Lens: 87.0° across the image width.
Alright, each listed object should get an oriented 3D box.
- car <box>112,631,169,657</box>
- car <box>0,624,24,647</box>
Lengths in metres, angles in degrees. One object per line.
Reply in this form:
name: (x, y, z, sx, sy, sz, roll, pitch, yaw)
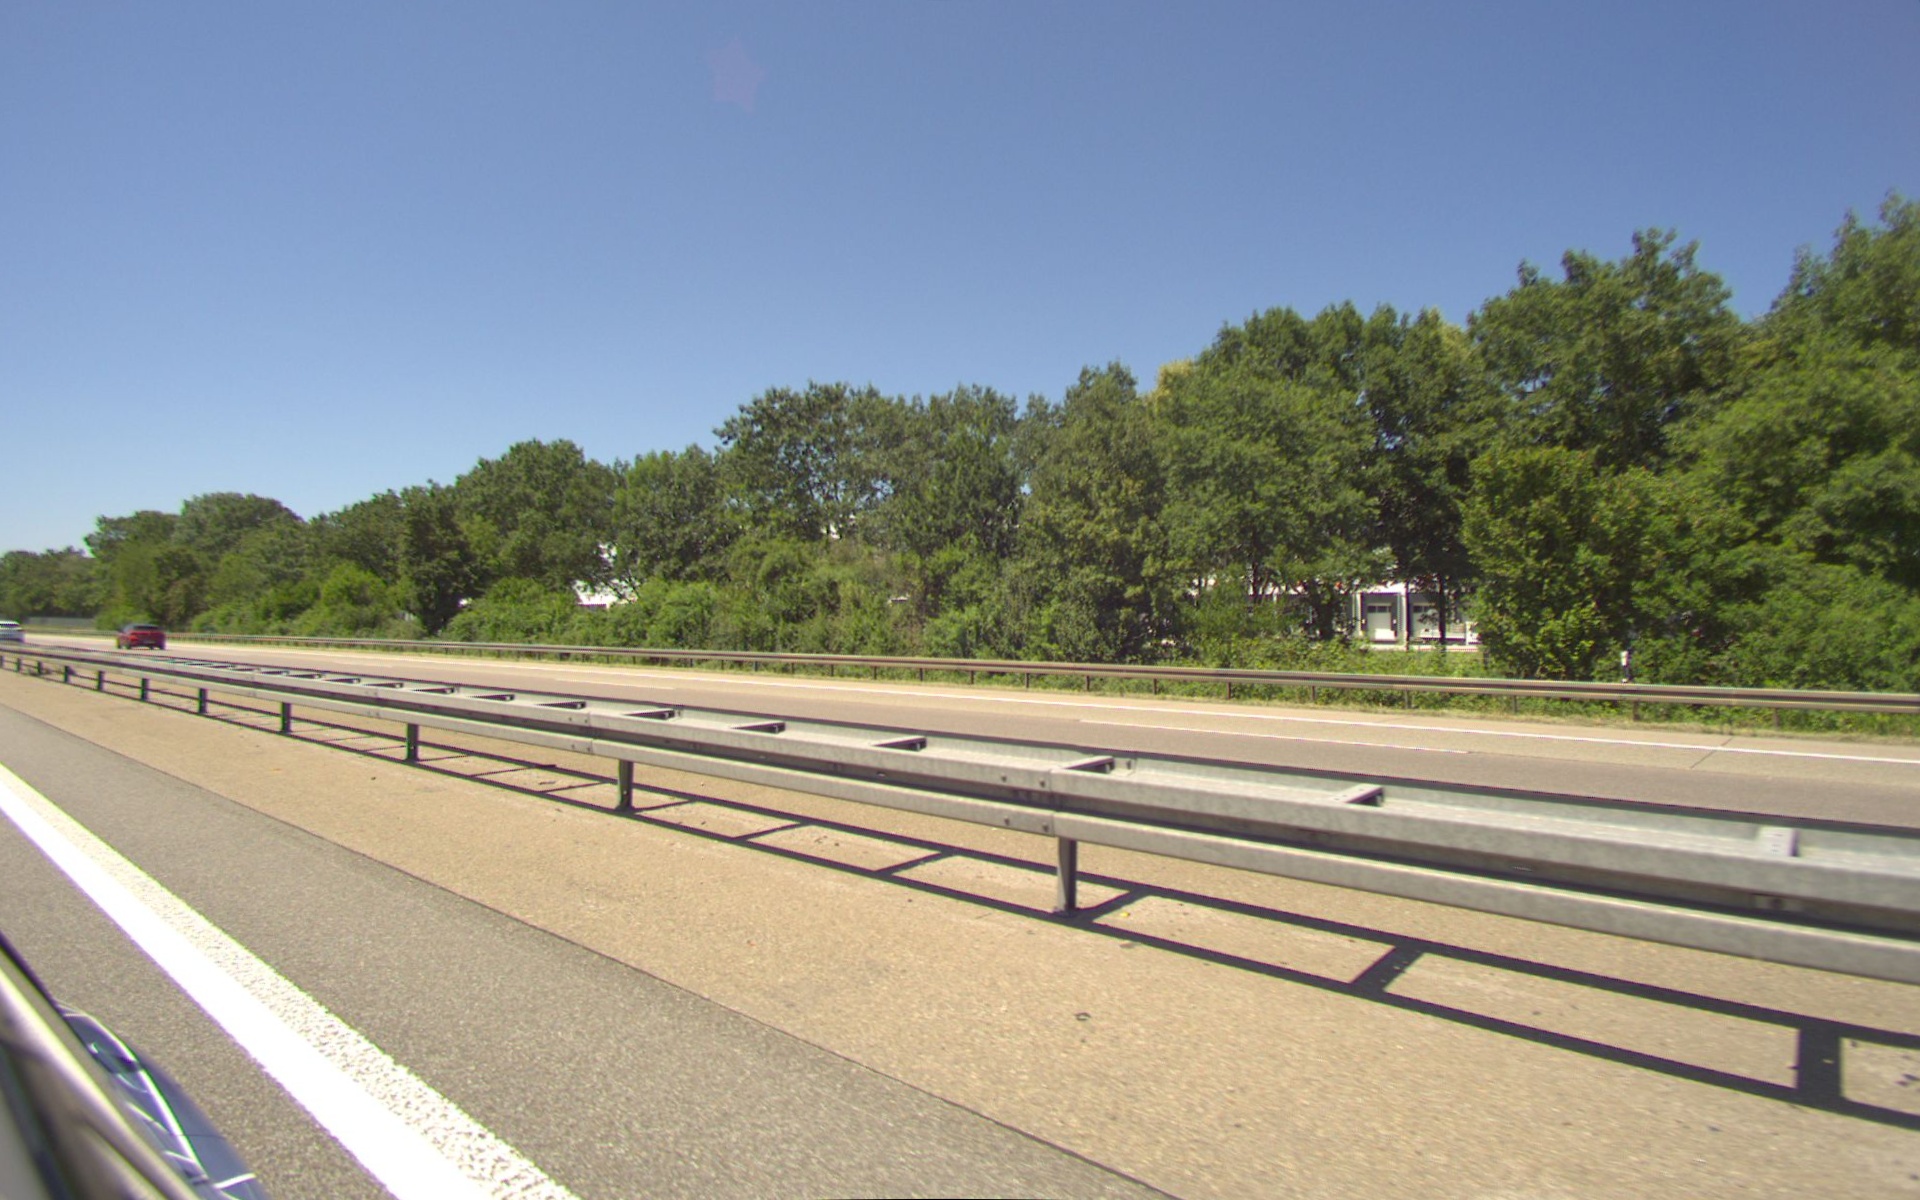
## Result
car: (-46.717, 2.529, 57.675, 4.108, 1.428, 1.754, -2, -4, 41)
car: (-61.679, 2.232, 65.015, 3.893, 1.433, 1.702, -1, -3, 39)
